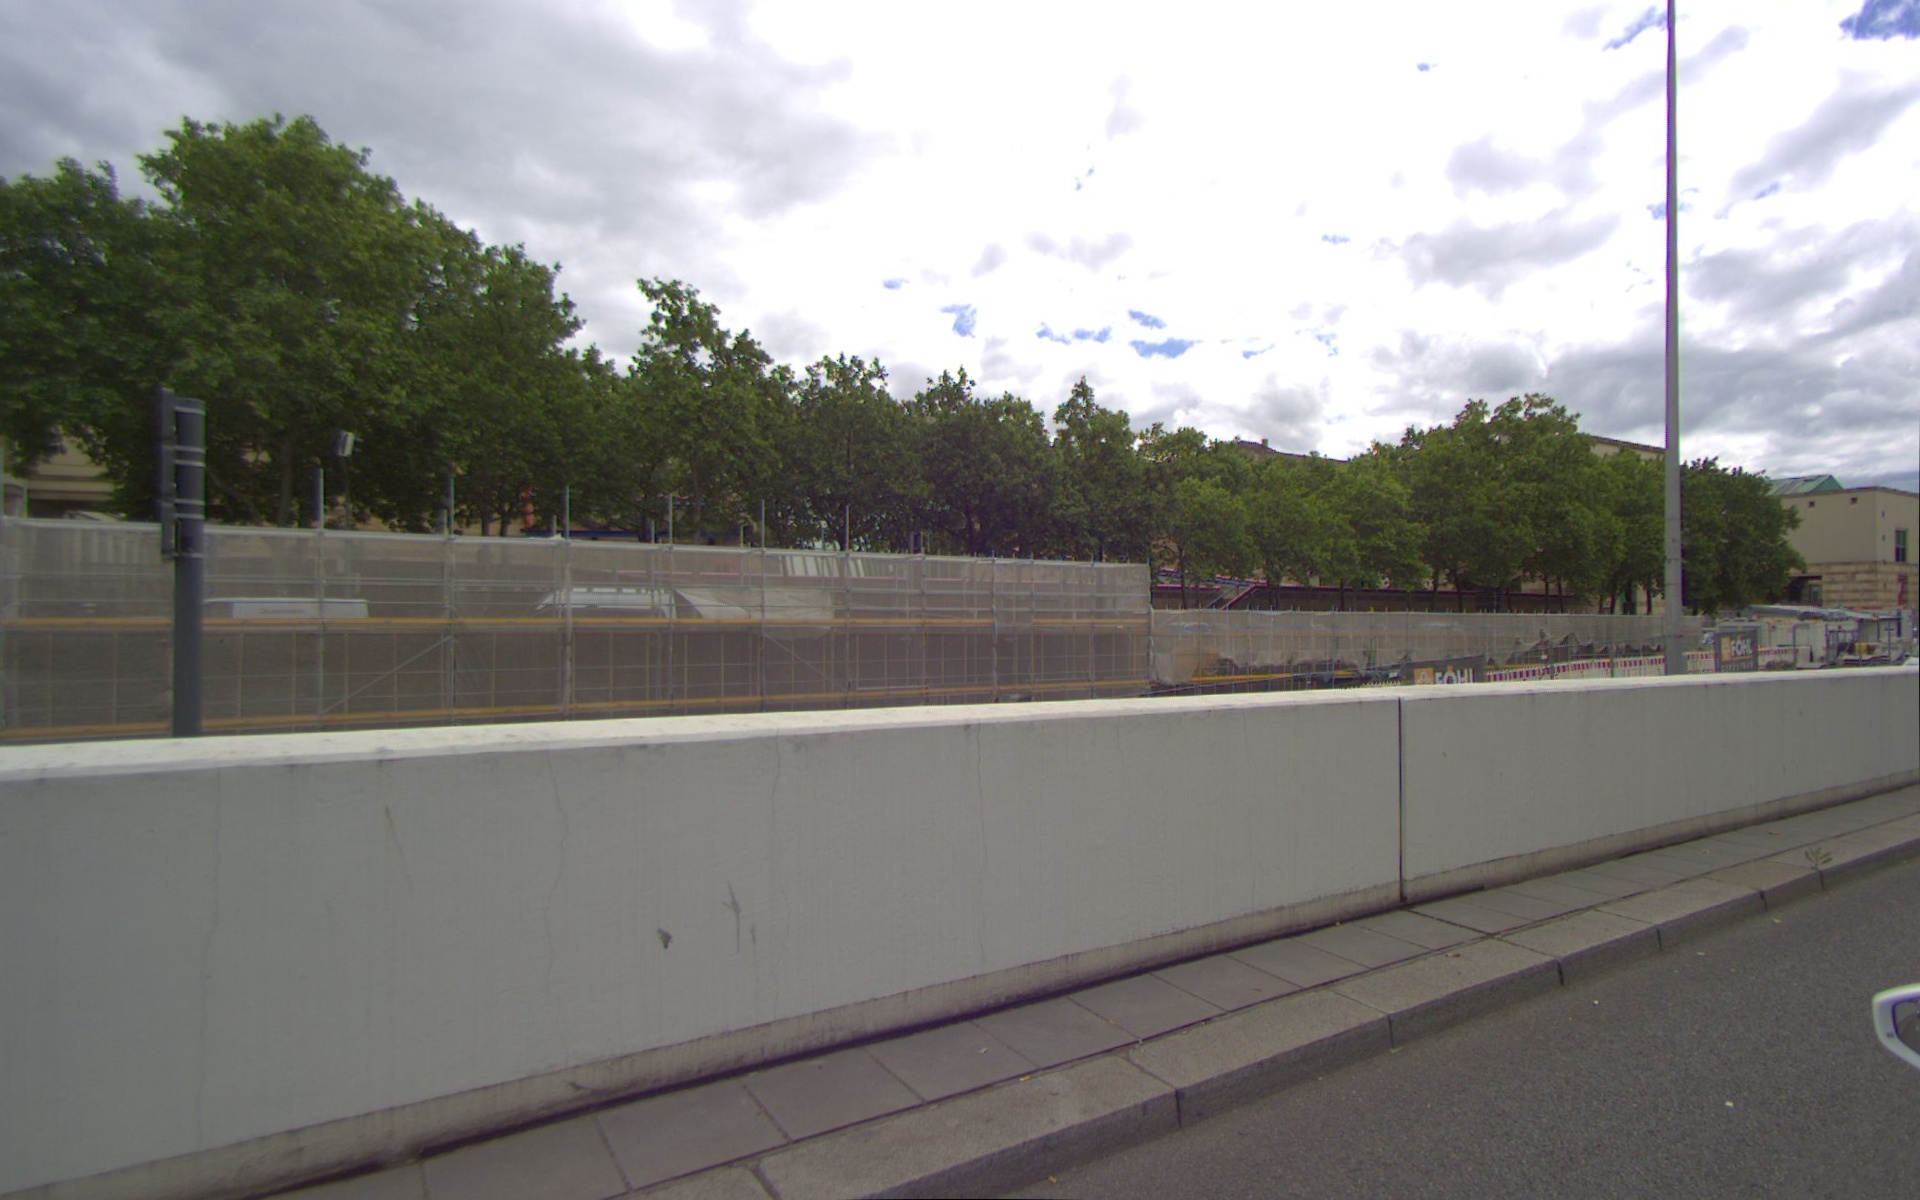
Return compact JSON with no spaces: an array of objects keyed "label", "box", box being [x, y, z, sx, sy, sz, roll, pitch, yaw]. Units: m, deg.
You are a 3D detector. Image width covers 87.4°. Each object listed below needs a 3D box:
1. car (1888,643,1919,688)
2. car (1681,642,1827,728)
[{"label":"car","box":[35.567,2.361,36.548,3.339,1.588,1.742,1,-4,-31]},{"label":"car","box":[21.844,2.257,27.616,3.956,2.040,1.982,-1,-1,-33]}]
